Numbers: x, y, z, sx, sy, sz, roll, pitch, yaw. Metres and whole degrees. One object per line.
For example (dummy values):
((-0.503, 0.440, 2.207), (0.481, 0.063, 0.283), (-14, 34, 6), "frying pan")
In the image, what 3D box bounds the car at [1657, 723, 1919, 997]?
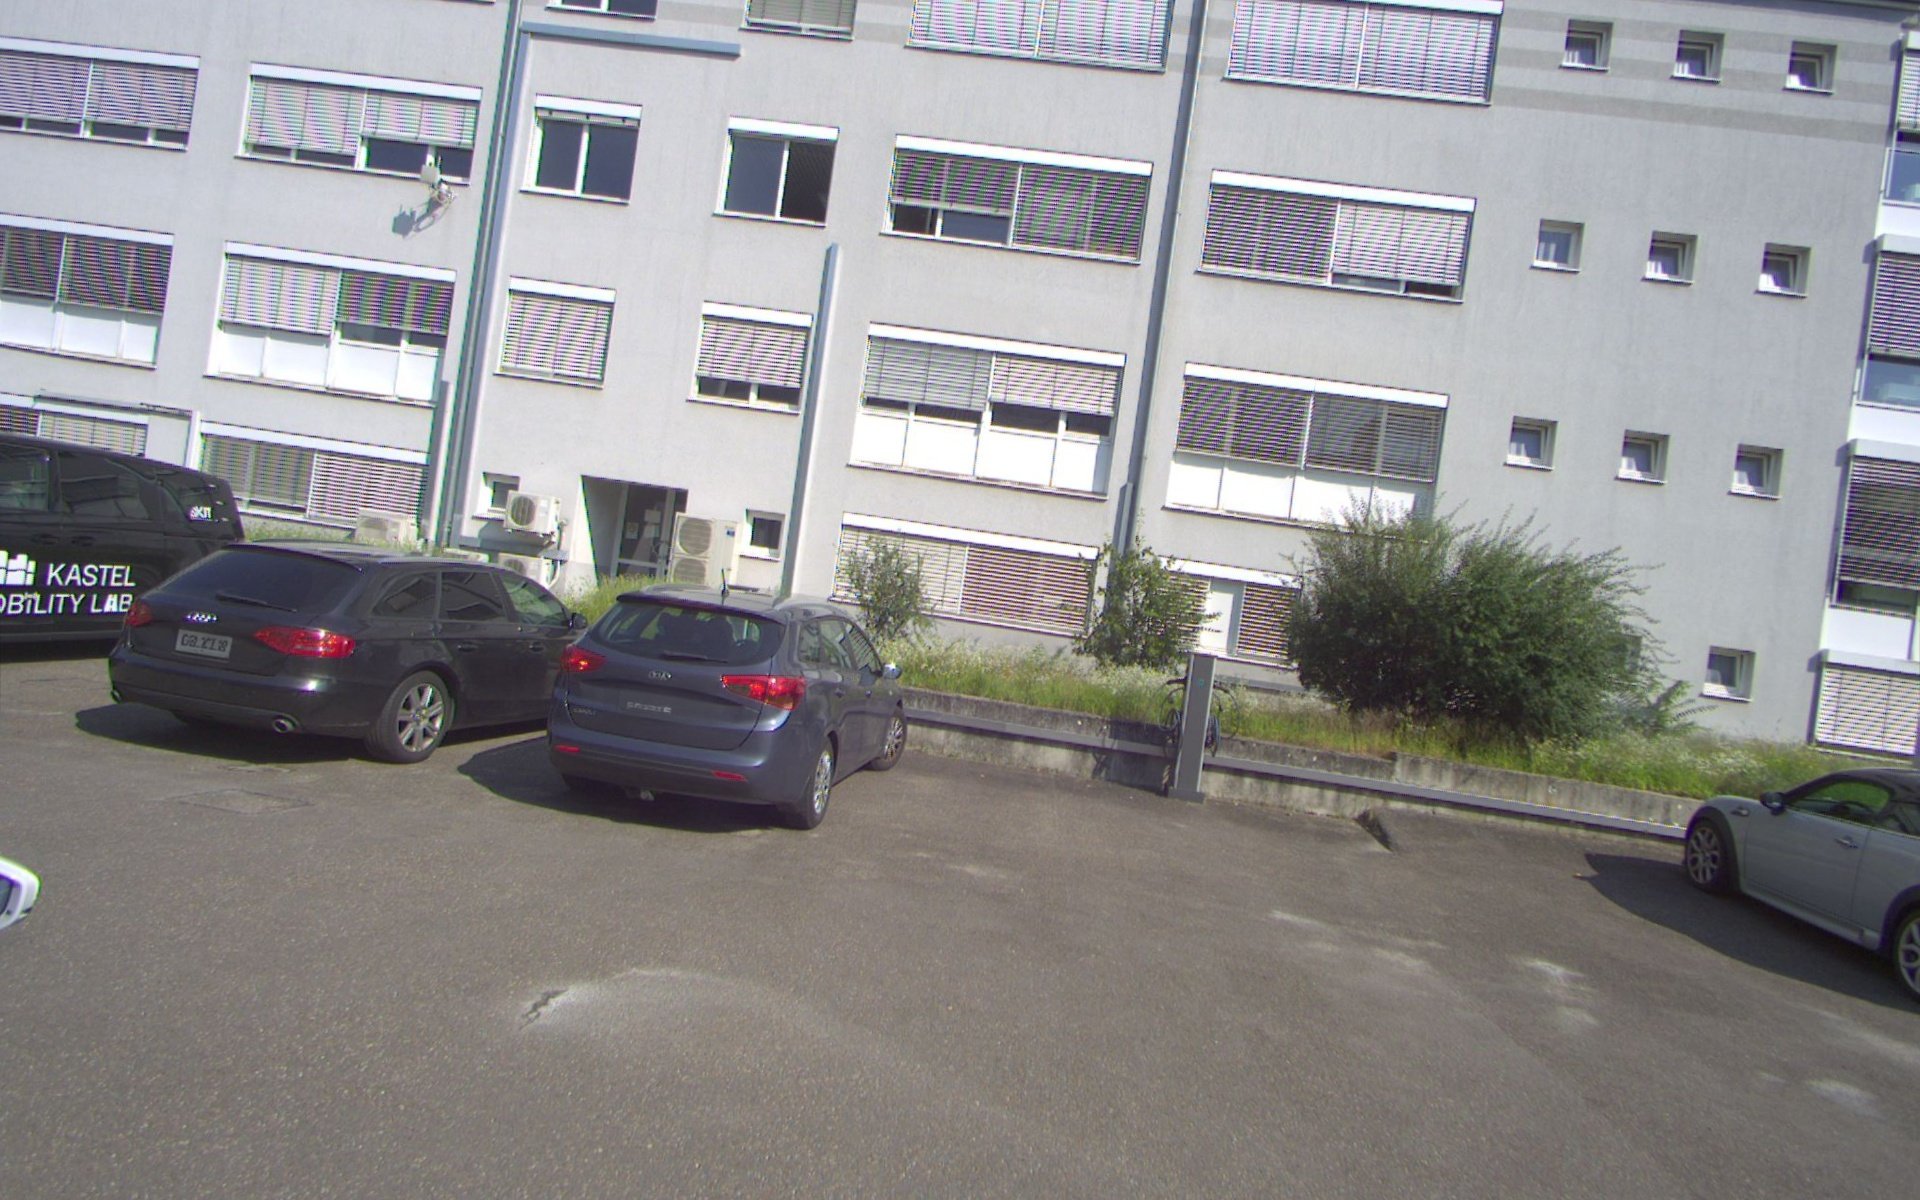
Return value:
((6.977, 1.890, 7.251), (1.627, 1.454, 3.585), (8, -1, 8), "car")

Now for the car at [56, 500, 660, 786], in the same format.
((-4.245, 0.319, 8.071), (1.658, 1.454, 4.250), (8, -1, 9), "car")

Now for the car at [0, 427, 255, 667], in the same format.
((-8.444, -0.537, 8.314), (1.879, 1.881, 4.350), (8, -1, 2), "car")

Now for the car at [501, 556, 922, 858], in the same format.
((-1.541, 0.673, 7.855), (1.709, 1.495, 4.063), (9, -1, 6), "car")
